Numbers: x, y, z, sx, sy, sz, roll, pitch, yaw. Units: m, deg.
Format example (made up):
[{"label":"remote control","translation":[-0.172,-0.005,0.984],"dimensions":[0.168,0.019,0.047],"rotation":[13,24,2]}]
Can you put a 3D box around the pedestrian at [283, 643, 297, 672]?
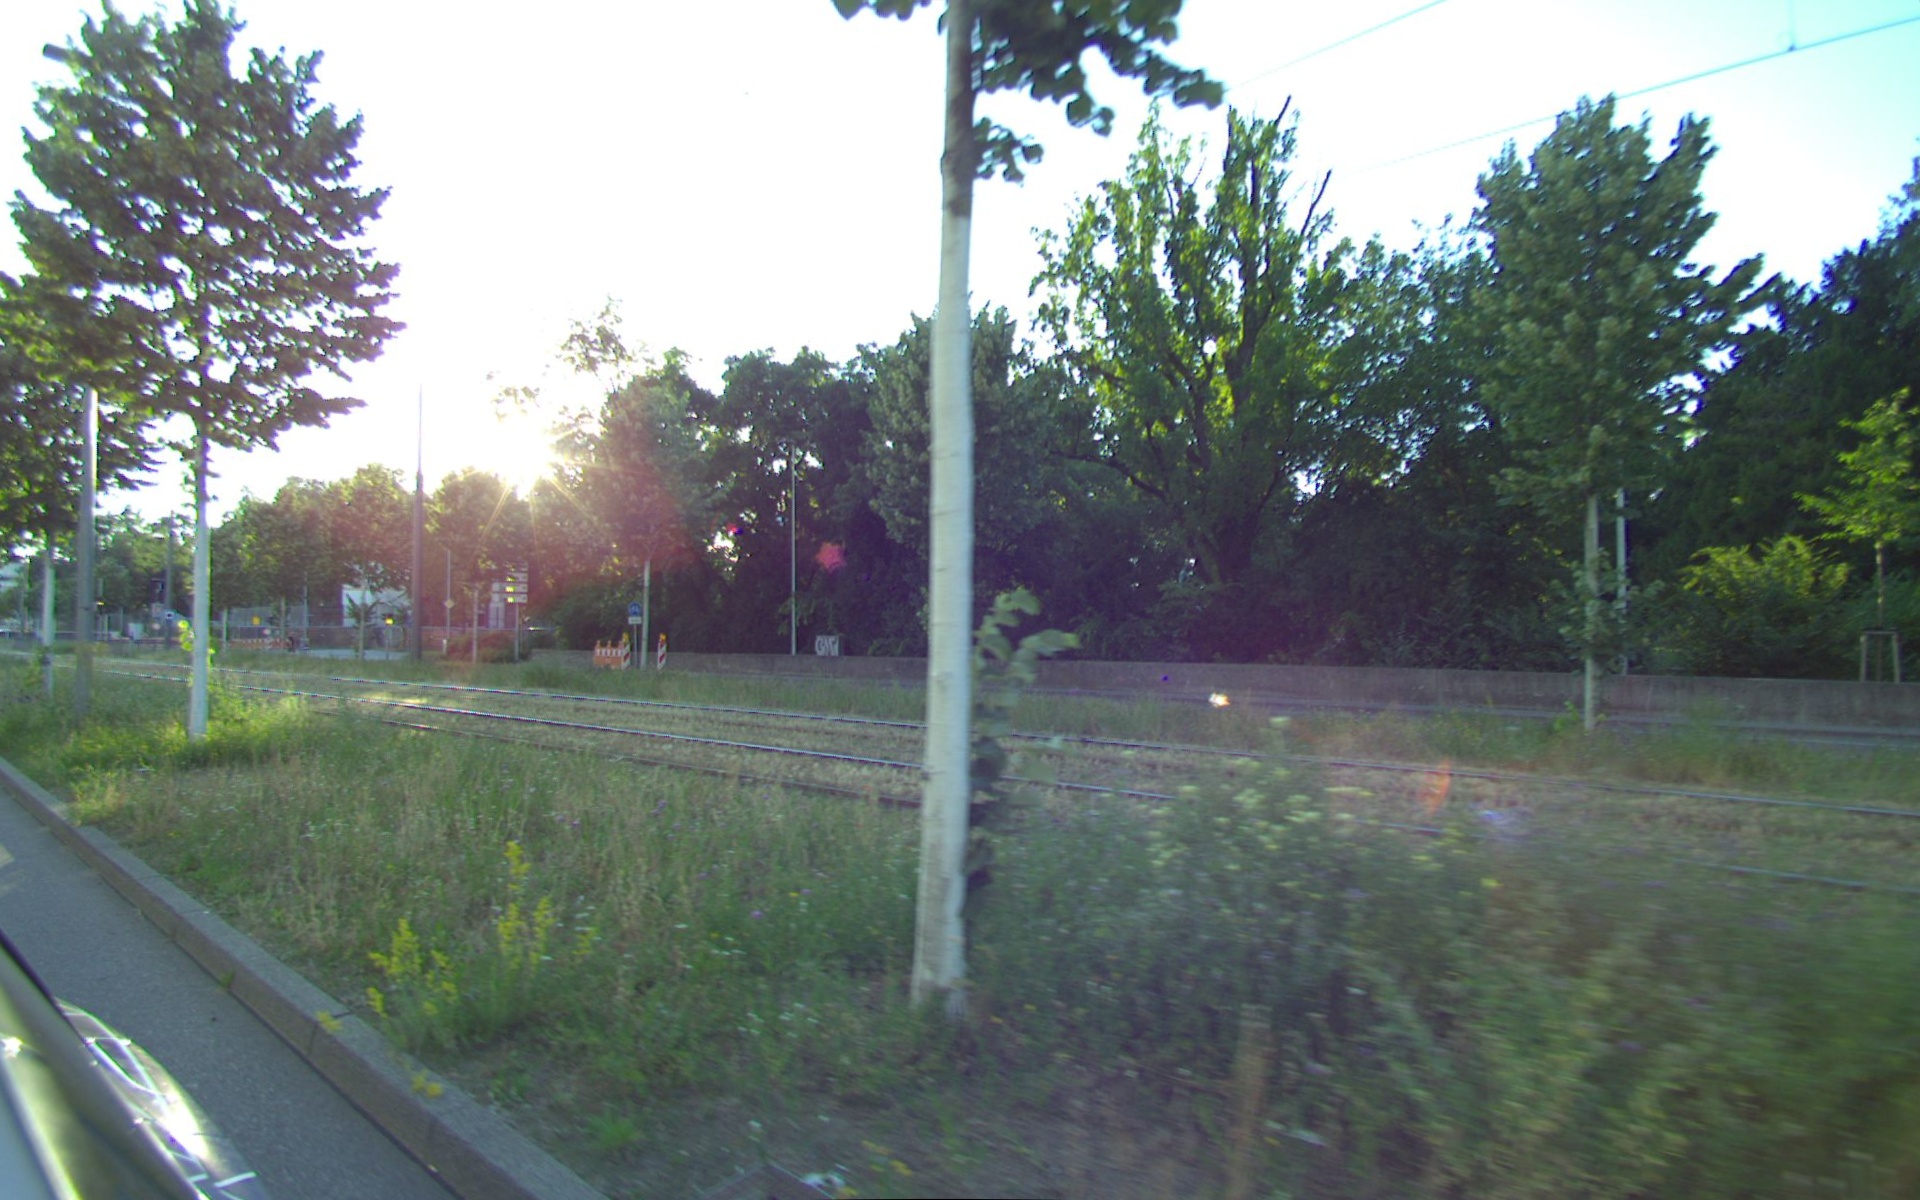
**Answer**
[{"label":"pedestrian","translation":[-39.740,3.412,60.029],"dimensions":[0.660,1.620,0.679],"rotation":[-1,-5,-35]}]
